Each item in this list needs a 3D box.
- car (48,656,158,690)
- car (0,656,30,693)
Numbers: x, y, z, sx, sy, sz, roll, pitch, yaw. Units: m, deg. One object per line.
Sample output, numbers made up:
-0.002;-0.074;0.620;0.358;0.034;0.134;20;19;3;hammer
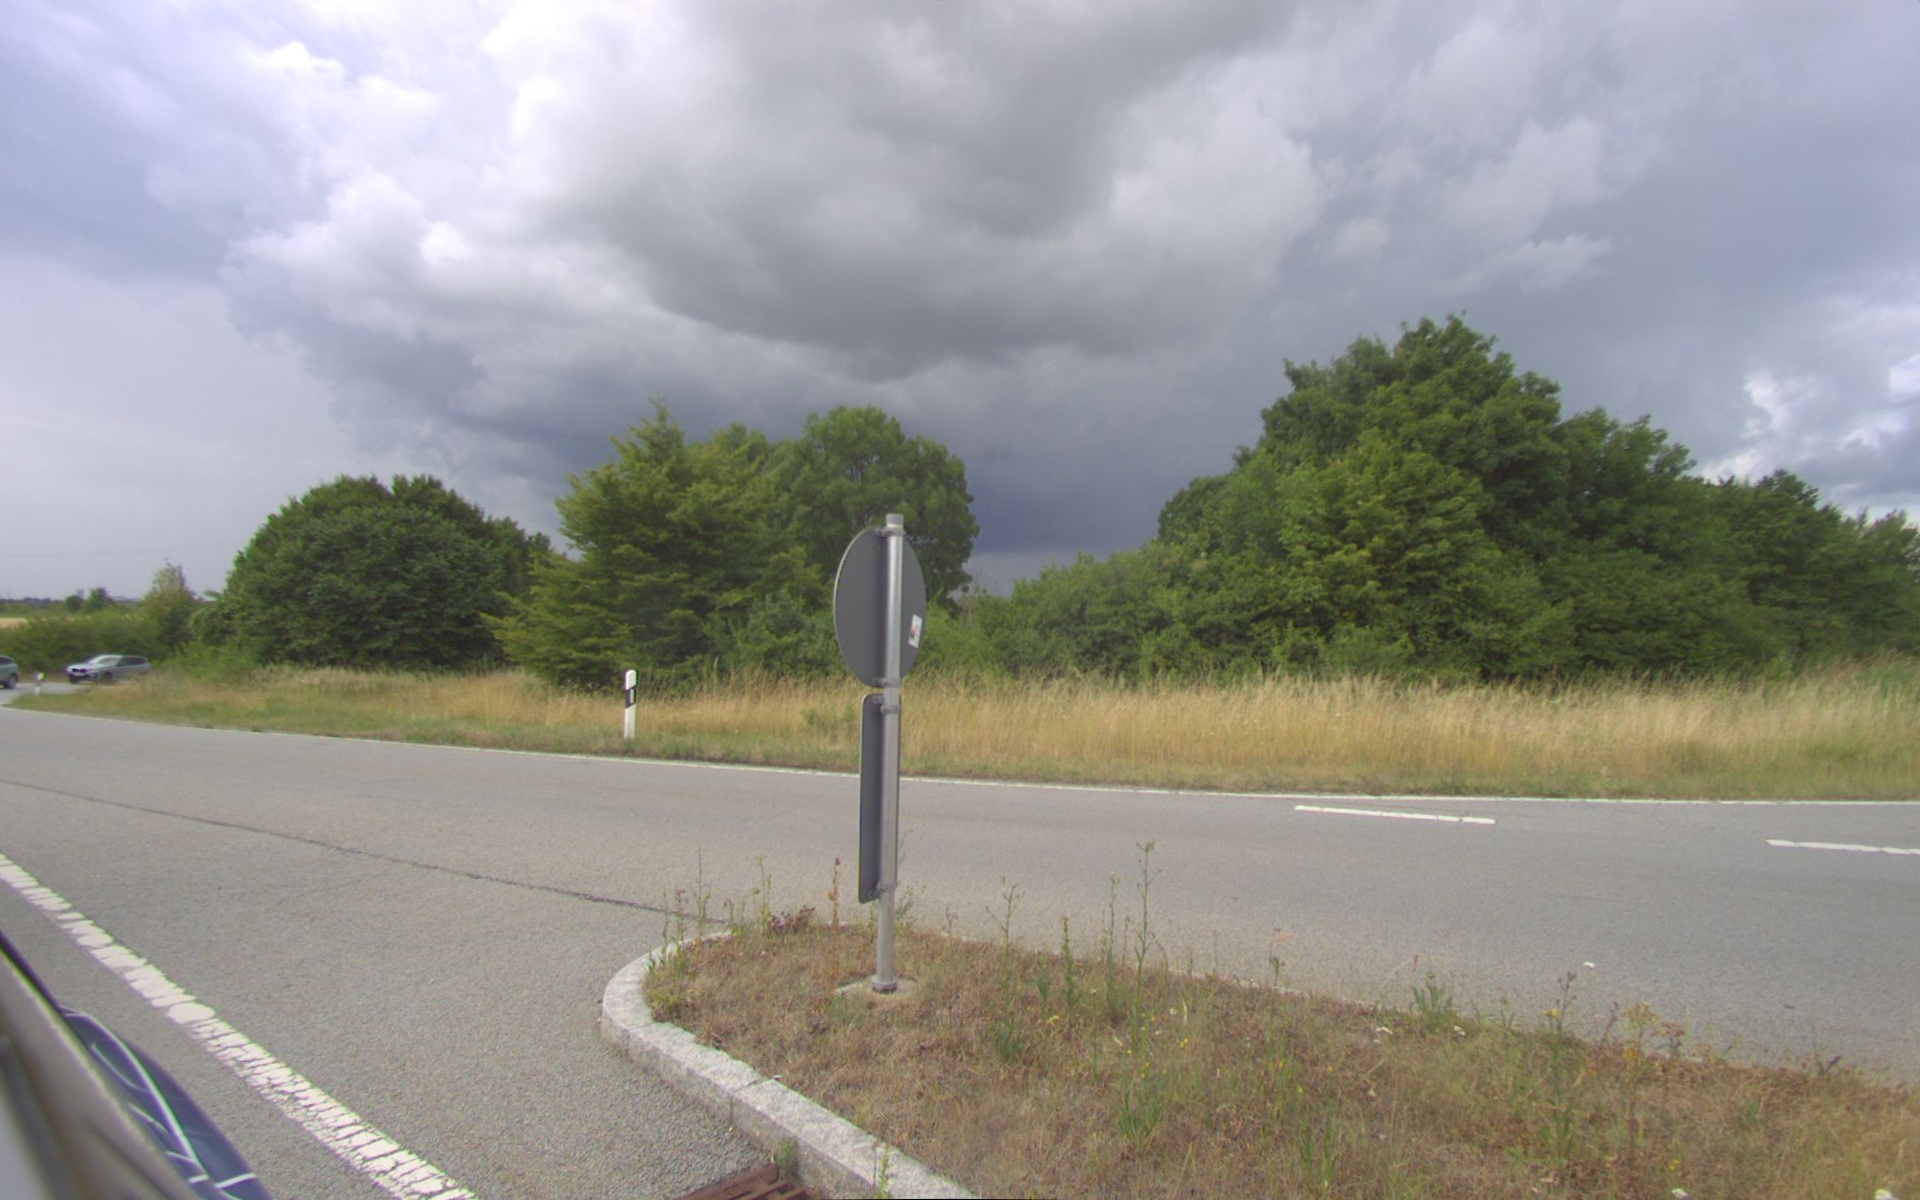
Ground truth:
-48.788;4.117;57.794;1.970;1.732;5.212;3;-3;-4;car
-46.246;3.454;47.313;1.966;1.733;5.224;4;-5;-18;car
